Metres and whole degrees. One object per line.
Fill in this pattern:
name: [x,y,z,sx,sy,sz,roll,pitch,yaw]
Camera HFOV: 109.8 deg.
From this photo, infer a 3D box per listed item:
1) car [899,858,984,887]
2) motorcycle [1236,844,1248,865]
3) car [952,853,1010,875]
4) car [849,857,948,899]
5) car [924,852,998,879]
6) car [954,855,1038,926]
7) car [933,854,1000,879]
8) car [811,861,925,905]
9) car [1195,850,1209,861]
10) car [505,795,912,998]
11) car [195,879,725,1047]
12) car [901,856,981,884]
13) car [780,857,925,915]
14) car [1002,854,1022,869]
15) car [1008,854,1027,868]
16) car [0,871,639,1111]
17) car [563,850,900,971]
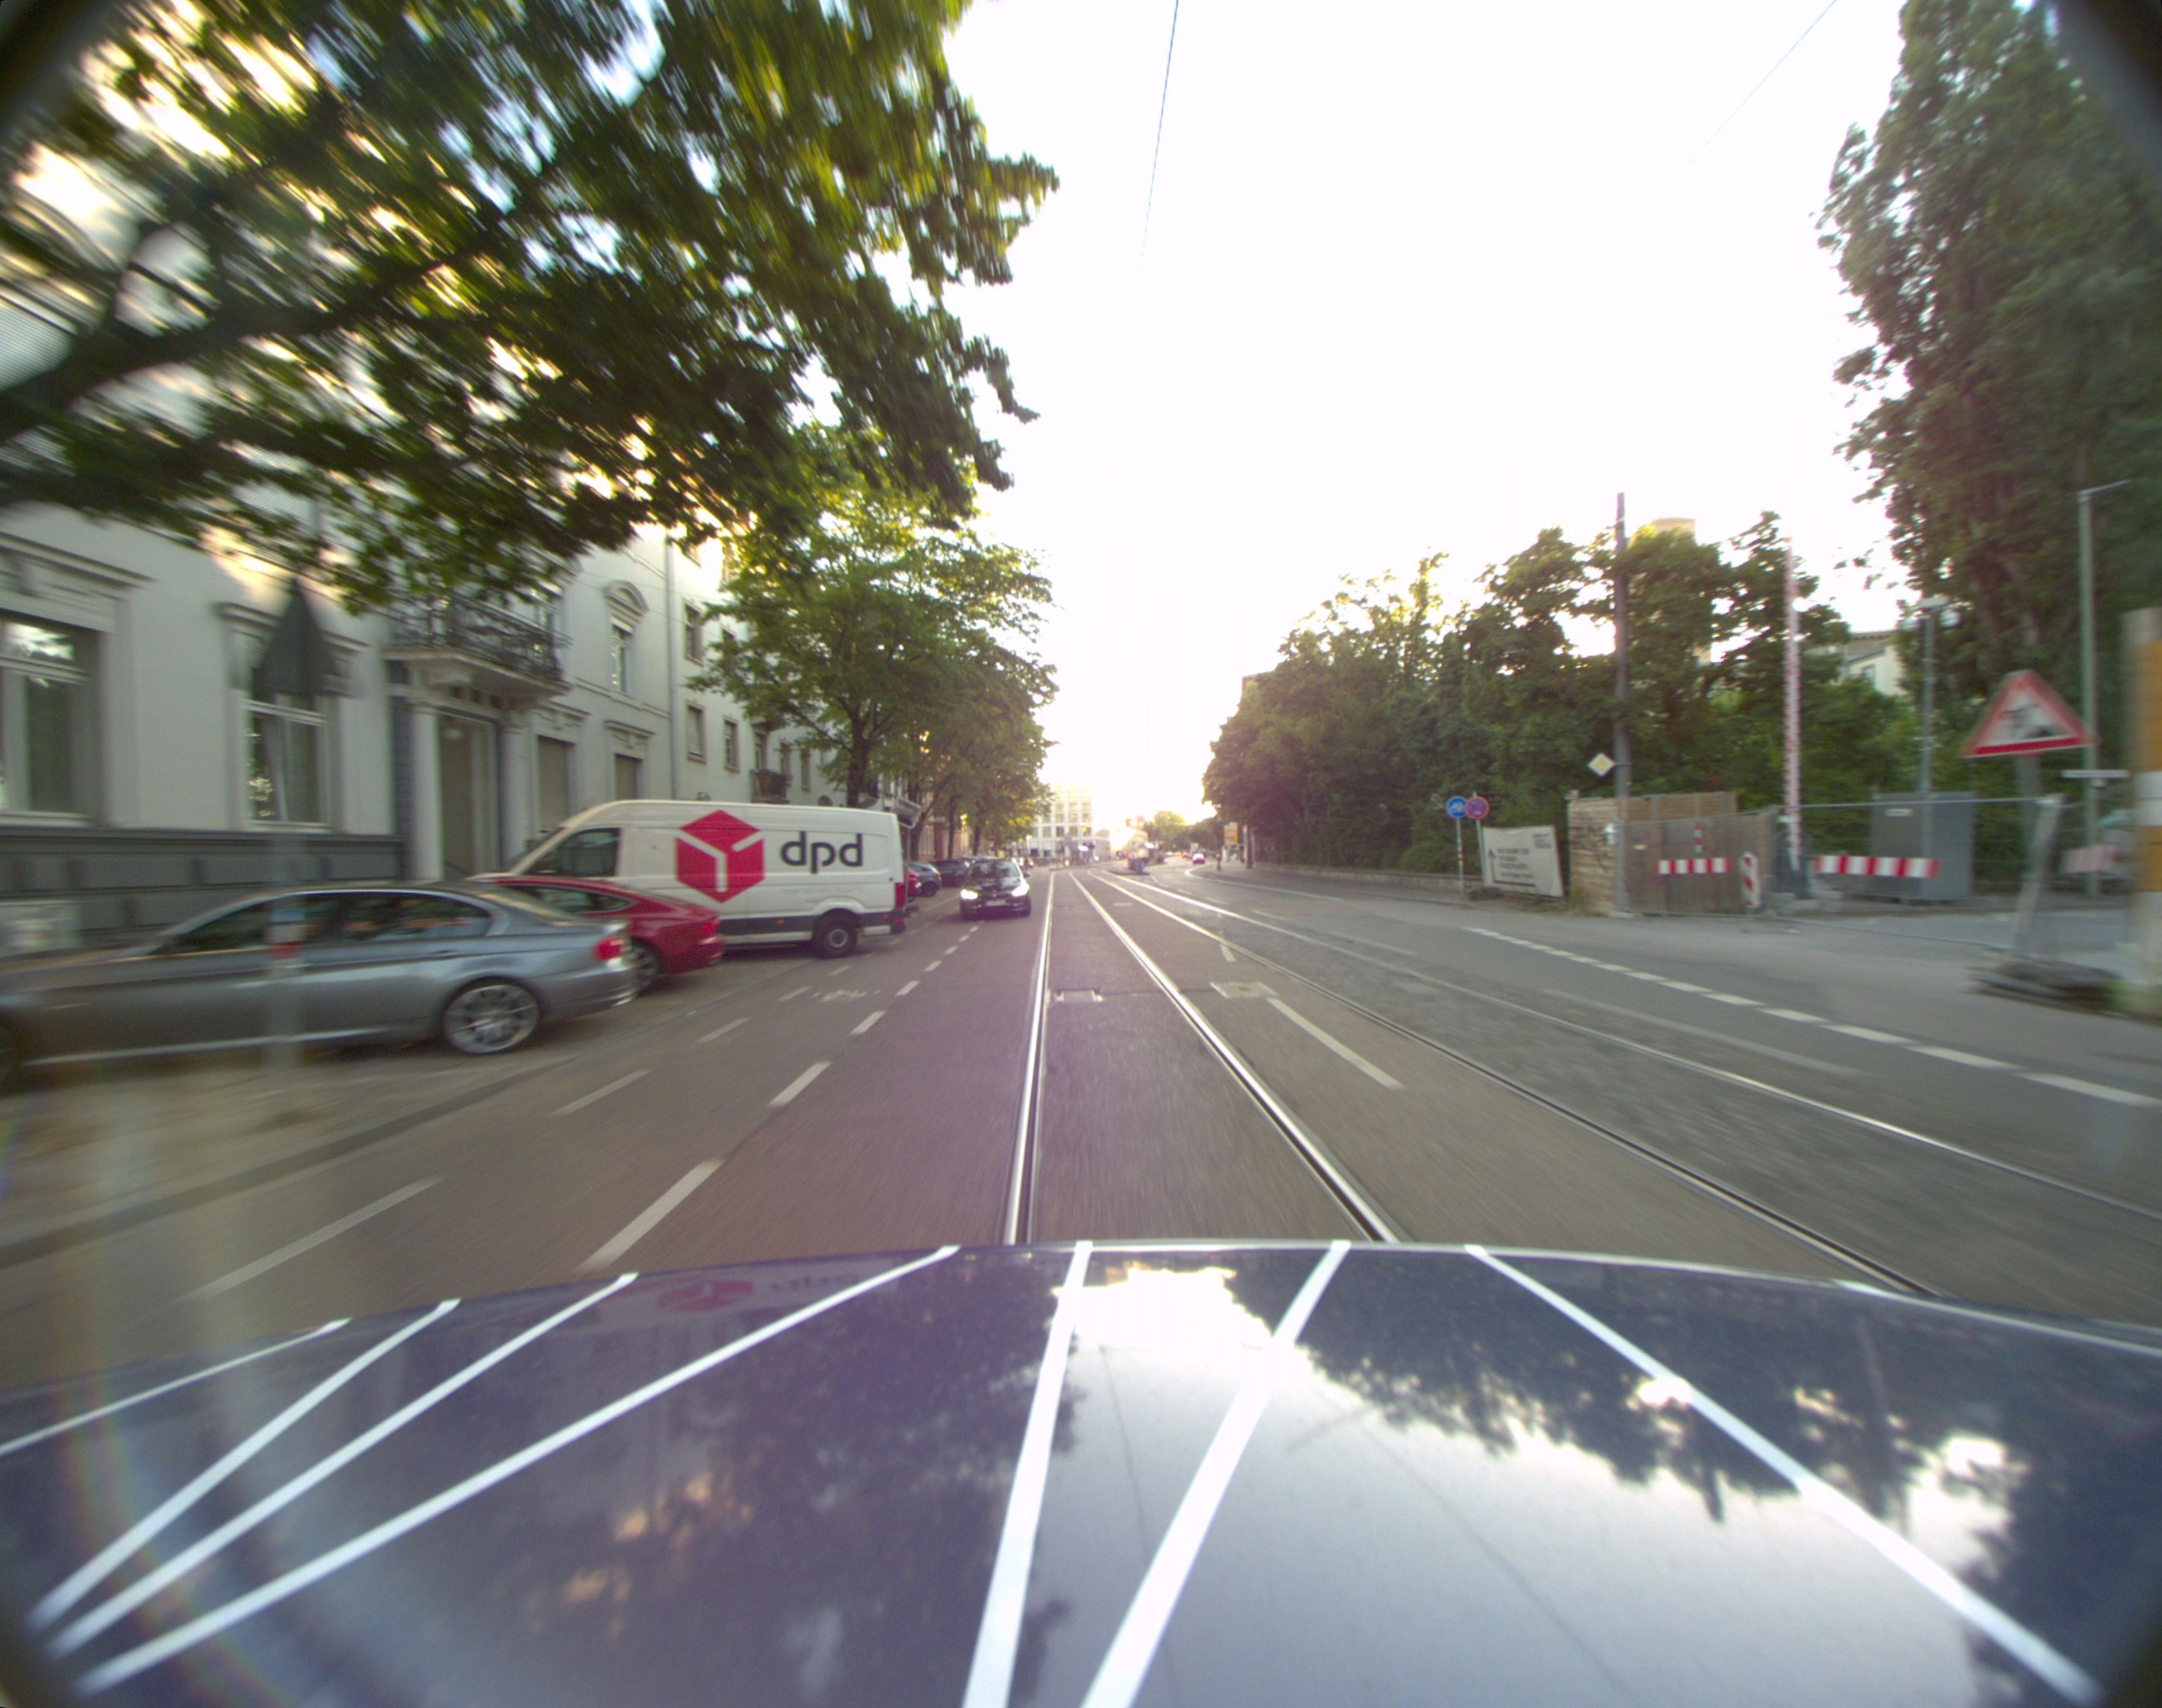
car: [-7.367,0.961,40.051,4.215,1.494,1.741,0,0,-18]
motorcycle: [19.178,0.015,90.551,1.022,2.429,2.669,-1,0,7]
car: [-8.041,0.765,61.015,4.218,1.600,1.739,-2,1,-31]
car: [-7.282,0.921,30.407,3.580,1.536,1.381,-1,0,-30]
car: [-7.448,0.684,47.136,4.218,1.600,1.699,0,0,-31]
car: [-2.237,0.905,21.120,1.840,1.631,4.168,-5,0,-1]
car: [-7.990,0.848,53.048,4.218,1.600,1.739,-2,1,-31]
car: [-7.592,0.989,27.206,3.581,1.401,1.517,-1,0,-37]
car: [19.142,0.155,120.359,1.997,1.674,4.002,-1,0,8]
car: [-5.916,0.525,12.562,5.650,2.678,2.166,-1,0,-36]
car: [-6.698,1.065,8.926,4.414,1.436,1.983,1,0,-30]
car: [-7.845,0.870,42.529,4.215,1.494,1.741,0,0,-18]
car: [-7.252,0.959,24.223,4.125,1.631,1.740,-1,0,-28]
car: [-7.931,0.817,88.099,1.742,1.600,3.822,-2,0,3]
car: [-7.748,0.822,93.163,1.742,1.600,3.822,-2,0,3]
car: [-6.292,0.903,6.138,4.615,1.504,1.858,1,-1,-28]
car: [-6.672,0.920,14.907,5.650,1.884,2.166,-1,0,-36]
